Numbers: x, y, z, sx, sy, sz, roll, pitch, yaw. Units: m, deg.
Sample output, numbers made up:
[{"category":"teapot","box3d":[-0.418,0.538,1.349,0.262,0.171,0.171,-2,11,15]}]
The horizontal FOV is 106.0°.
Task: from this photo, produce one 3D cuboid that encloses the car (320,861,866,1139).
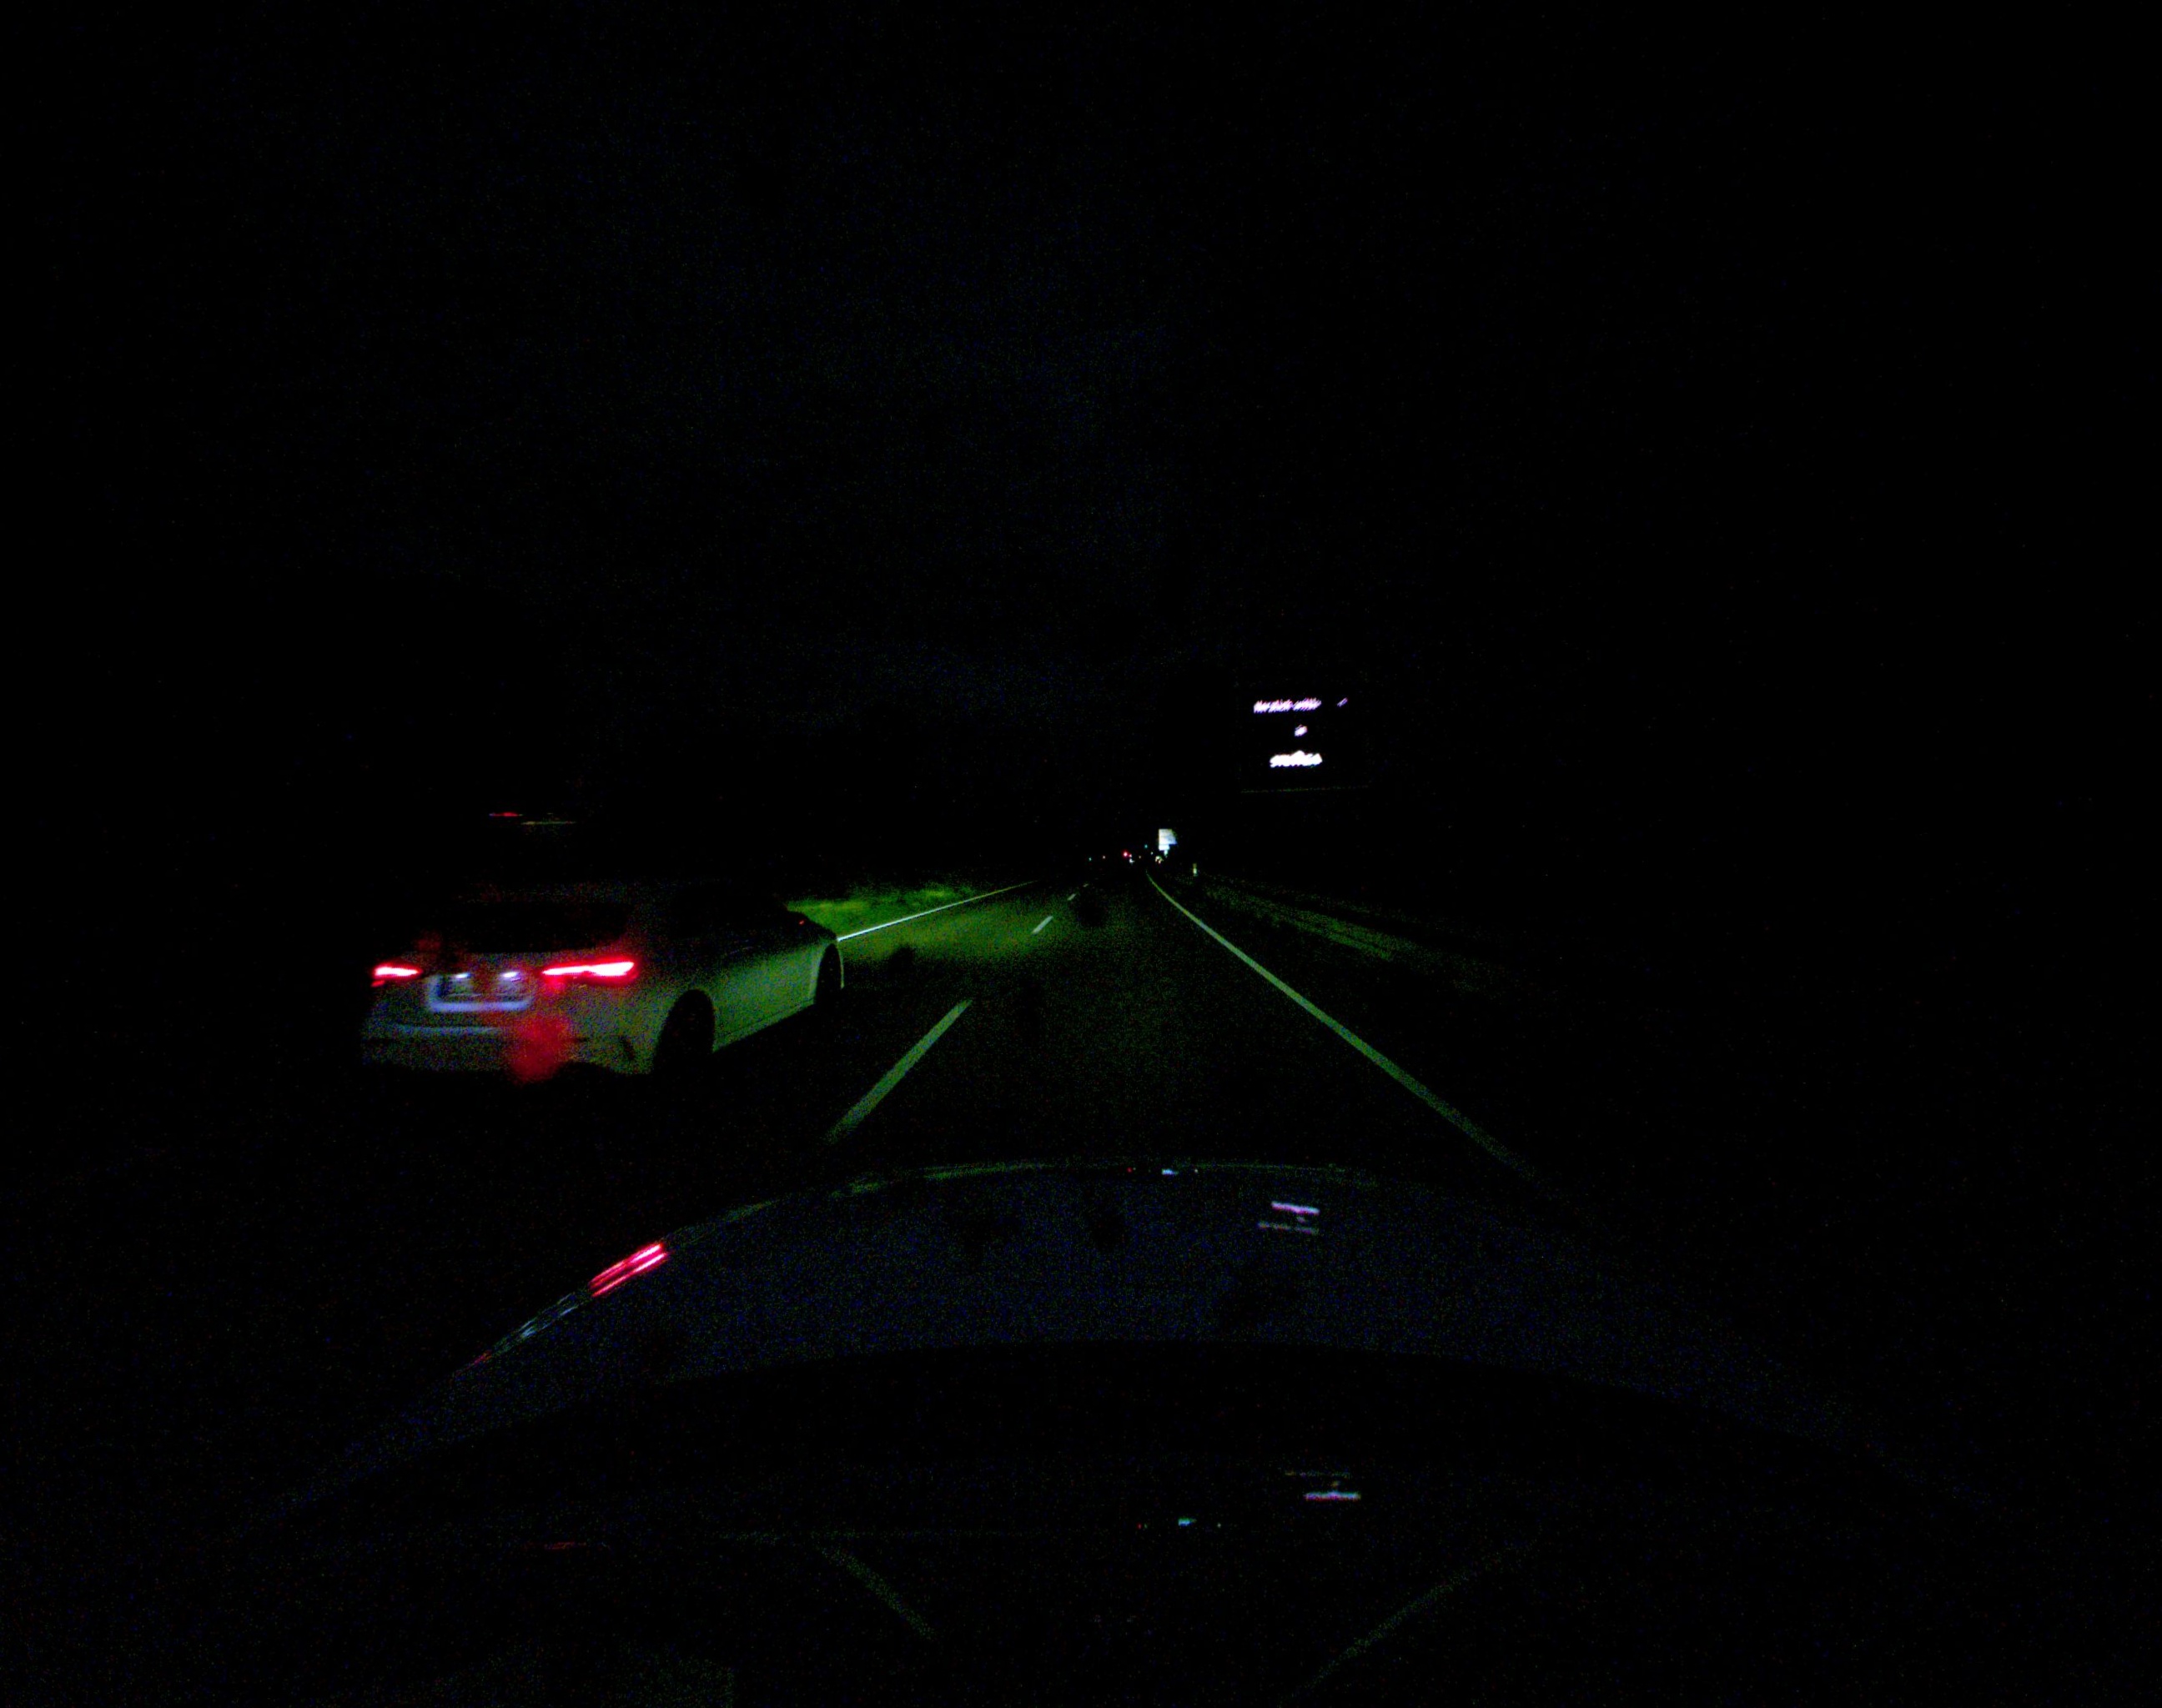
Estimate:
[{"category":"car","box3d":[-3.283,0.817,6.745,1.636,1.490,4.581,-1,0,2]}]
